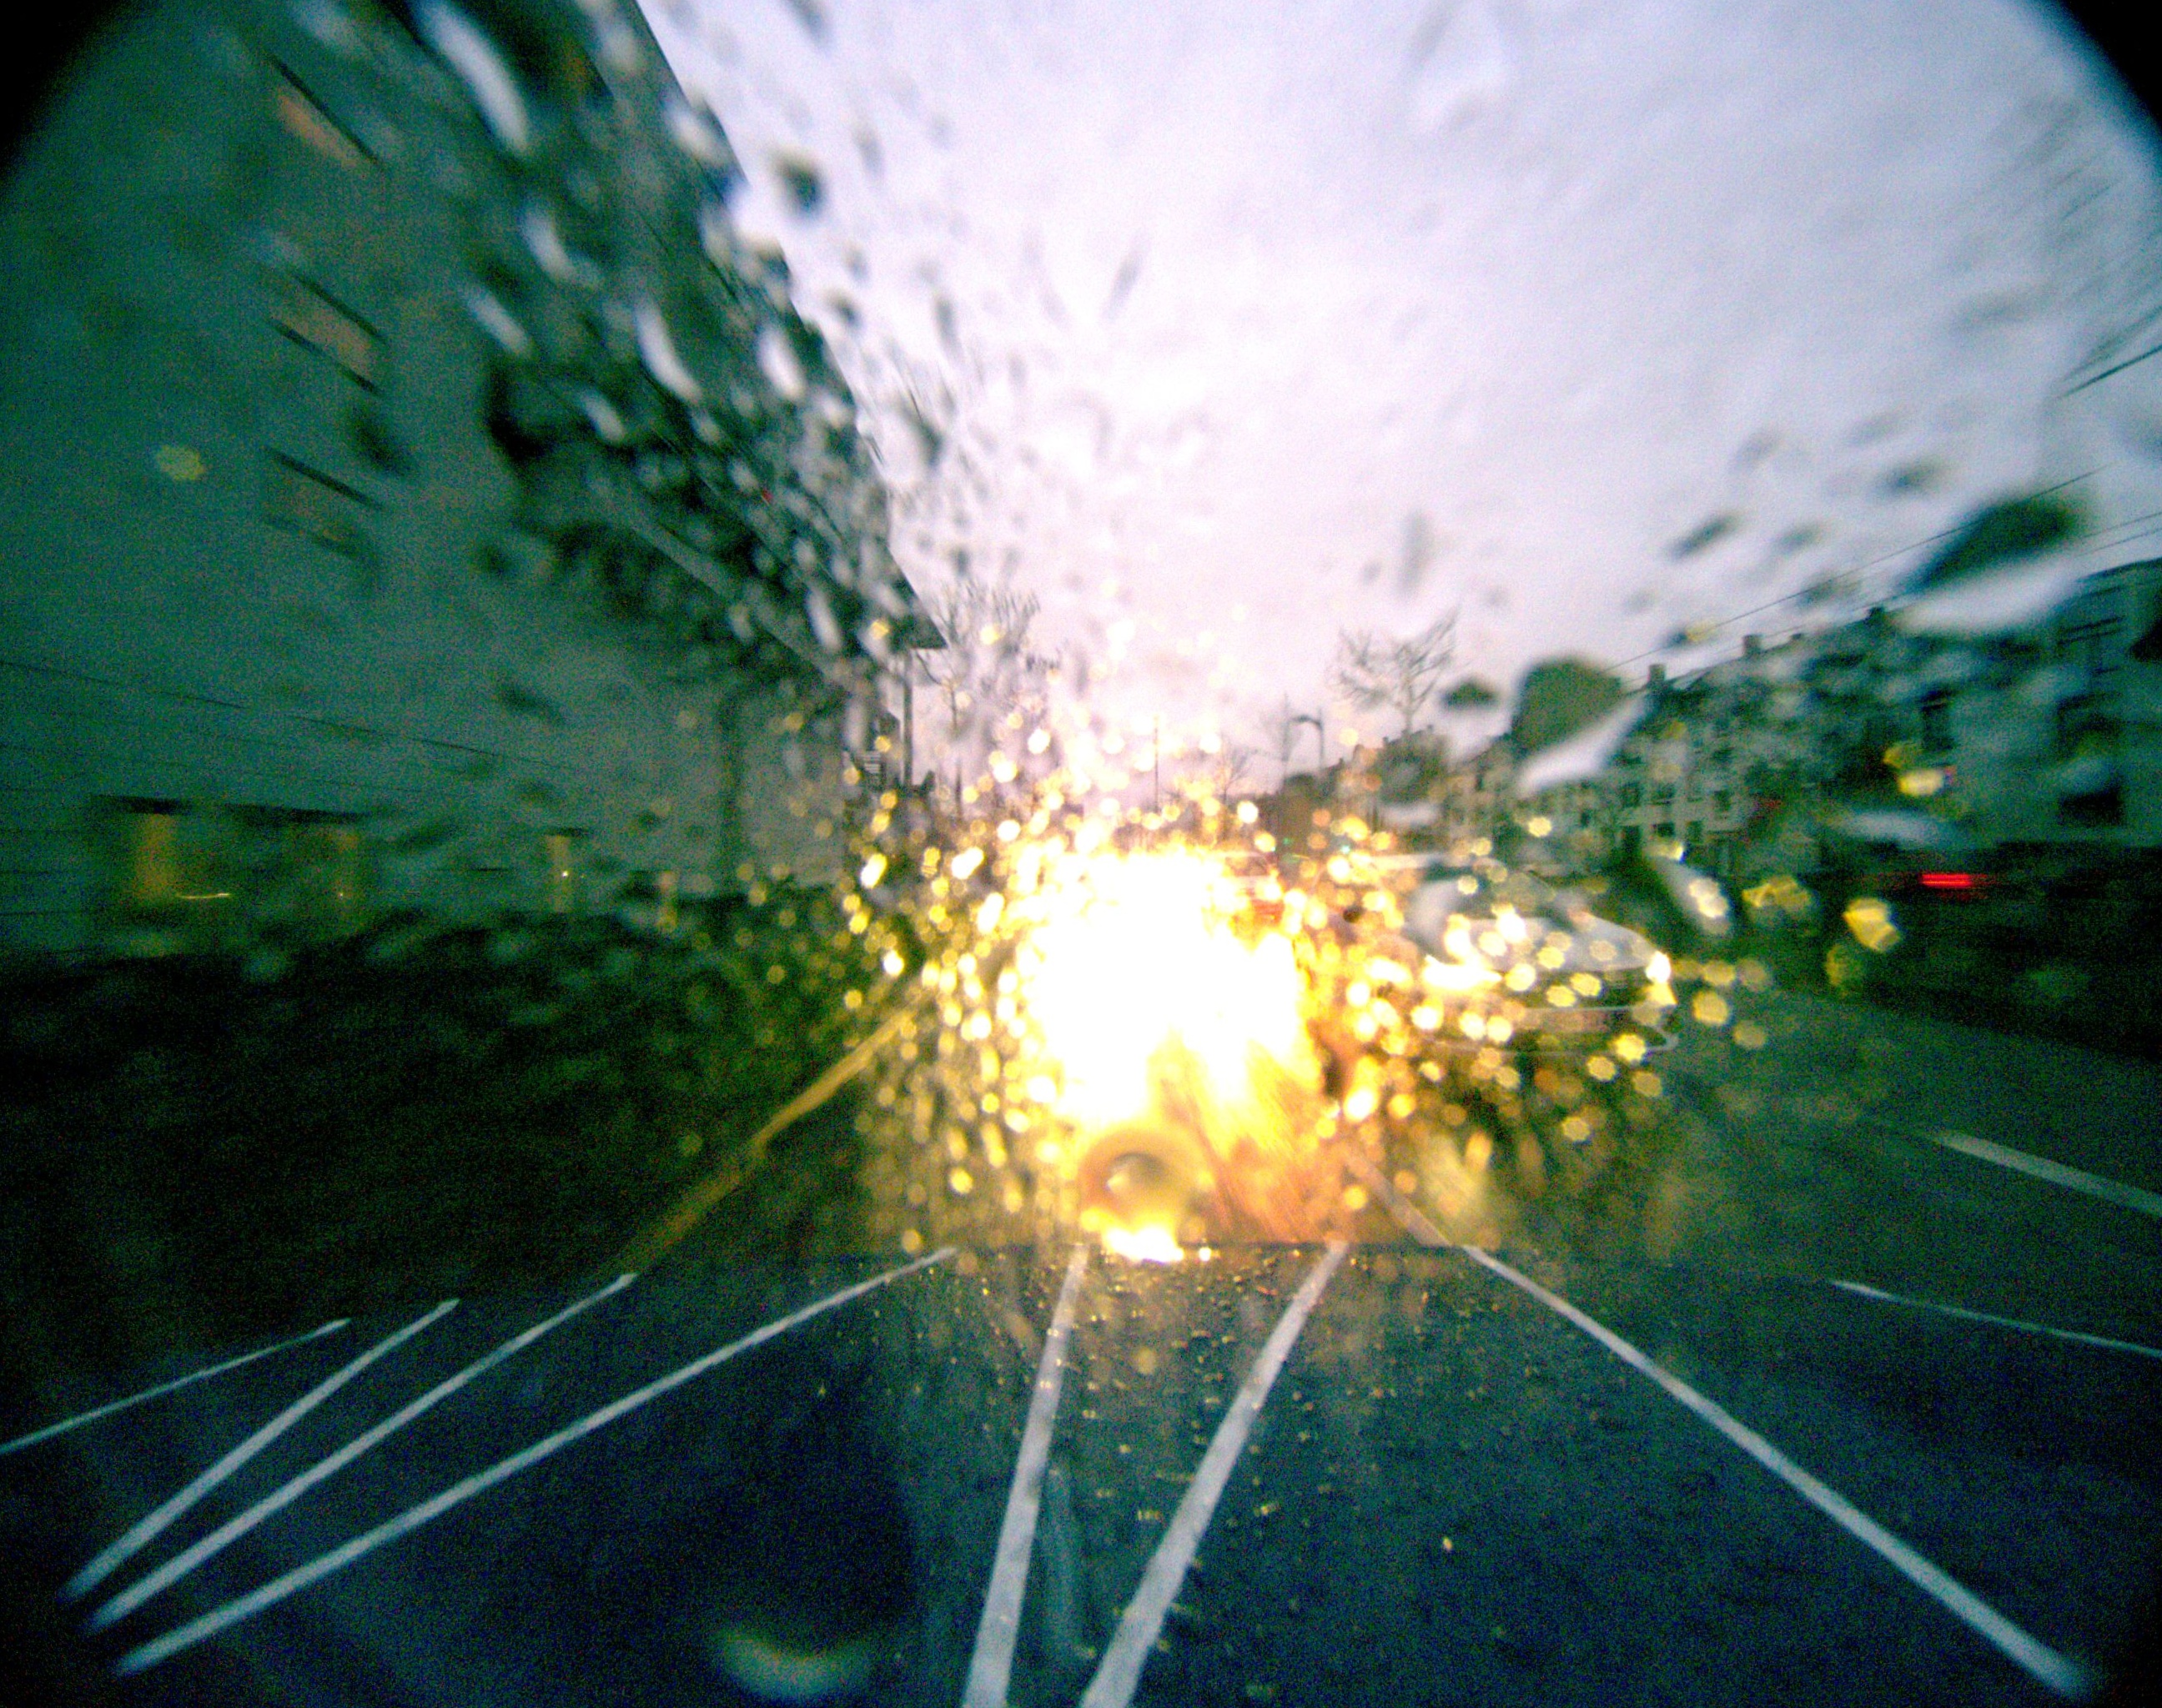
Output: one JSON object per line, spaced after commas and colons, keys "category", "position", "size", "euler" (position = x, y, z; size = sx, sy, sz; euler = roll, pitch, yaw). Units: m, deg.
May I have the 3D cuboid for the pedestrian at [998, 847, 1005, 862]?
{"category": "pedestrian", "position": [-9.680, 0.015, 92.574], "size": [0.673, 1.767, 0.615], "euler": [-2, 0, 14]}

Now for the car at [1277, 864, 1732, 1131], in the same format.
{"category": "car", "position": [3.019, 0.881, 6.495], "size": [1.692, 1.465, 4.001], "euler": [-2, 0, 1]}

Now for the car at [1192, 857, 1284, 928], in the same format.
{"category": "car", "position": [3.779, 0.861, 18.846], "size": [1.638, 1.510, 3.908], "euler": [-2, 0, 3]}

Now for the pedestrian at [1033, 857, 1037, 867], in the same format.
{"category": "pedestrian", "position": [-7.529, 1.363, 124.985], "size": [0.669, 1.646, 0.994], "euler": [0, 1, -5]}

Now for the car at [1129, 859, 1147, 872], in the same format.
{"category": "car", "position": [6.143, 1.242, 82.058], "size": [1.523, 1.309, 3.436], "euler": [-2, 0, 0]}

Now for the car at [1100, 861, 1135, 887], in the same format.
{"category": "car", "position": [2.028, 1.095, 43.259], "size": [1.737, 1.311, 3.803], "euler": [-2, 0, 0]}

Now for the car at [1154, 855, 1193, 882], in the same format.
{"category": "car", "position": [5.468, 0.811, 45.311], "size": [1.905, 1.475, 3.656], "euler": [-2, 0, 2]}

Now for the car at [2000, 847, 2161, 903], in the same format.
{"category": "car", "position": [31.412, 0.648, 23.249], "size": [3.839, 1.579, 1.745], "euler": [-2, 0, 33]}

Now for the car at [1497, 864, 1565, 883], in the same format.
{"category": "car", "position": [31.066, 1.343, 52.465], "size": [3.811, 1.165, 1.741], "euler": [-3, 0, 37]}

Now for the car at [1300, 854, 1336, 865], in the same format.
{"category": "car", "position": [31.437, 0.720, 100.871], "size": [4.095, 1.154, 1.715], "euler": [-4, 1, 39]}

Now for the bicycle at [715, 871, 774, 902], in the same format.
{"category": "bicycle", "position": [-11.464, 1.097, 25.897], "size": [1.813, 1.045, 0.397], "euler": [0, 0, -2]}

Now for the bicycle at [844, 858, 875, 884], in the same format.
{"category": "bicycle", "position": [-11.331, 0.845, 38.897], "size": [0.411, 1.277, 1.747], "euler": [-2, 0, 27]}

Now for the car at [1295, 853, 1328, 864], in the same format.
{"category": "car", "position": [31.482, 0.633, 103.839], "size": [4.034, 1.223, 1.351], "euler": [-4, 1, 36]}

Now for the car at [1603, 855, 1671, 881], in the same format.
{"category": "car", "position": [31.309, 0.808, 42.888], "size": [2.929, 1.328, 1.741], "euler": [-3, 0, 32]}

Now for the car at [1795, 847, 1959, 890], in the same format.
{"category": "car", "position": [30.891, 0.588, 29.677], "size": [4.151, 1.532, 1.673], "euler": [-2, 0, 36]}

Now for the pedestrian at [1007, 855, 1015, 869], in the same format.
{"category": "pedestrian", "position": [-7.999, 0.954, 87.121], "size": [0.673, 1.603, 0.615], "euler": [-2, 0, 14]}

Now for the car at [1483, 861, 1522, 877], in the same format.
{"category": "car", "position": [30.743, 1.095, 55.443], "size": [2.386, 1.042, 1.440], "euler": [-3, -1, 32]}

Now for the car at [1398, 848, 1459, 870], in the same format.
{"category": "car", "position": [31.340, 0.449, 68.557], "size": [4.646, 1.713, 1.837], "euler": [-3, 0, 34]}

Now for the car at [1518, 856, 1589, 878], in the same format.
{"category": "car", "position": [30.845, 0.856, 49.634], "size": [3.833, 1.238, 1.741], "euler": [-3, 0, 34]}

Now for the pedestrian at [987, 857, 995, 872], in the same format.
{"category": "pedestrian", "position": [-10.078, 1.142, 85.215], "size": [0.673, 1.615, 0.615], "euler": [-2, 0, 15]}

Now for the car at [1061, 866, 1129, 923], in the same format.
{"category": "car", "position": [0.356, 1.052, 21.232], "size": [1.669, 1.325, 3.787], "euler": [-2, 0, 0]}

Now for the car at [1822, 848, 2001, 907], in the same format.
{"category": "car", "position": [25.239, 0.664, 23.282], "size": [1.618, 1.613, 3.509], "euler": [-2, 0, 0]}

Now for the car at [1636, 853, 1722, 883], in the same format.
{"category": "car", "position": [31.040, 0.724, 39.563], "size": [3.376, 1.413, 1.673], "euler": [-2, 0, 33]}

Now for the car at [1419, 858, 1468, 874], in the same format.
{"category": "car", "position": [31.112, 1.042, 65.150], "size": [3.562, 1.134, 1.740], "euler": [-3, 0, 32]}

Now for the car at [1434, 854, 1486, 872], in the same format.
{"category": "car", "position": [31.090, 0.772, 62.307], "size": [3.571, 1.301, 1.689], "euler": [-3, 0, 32]}
